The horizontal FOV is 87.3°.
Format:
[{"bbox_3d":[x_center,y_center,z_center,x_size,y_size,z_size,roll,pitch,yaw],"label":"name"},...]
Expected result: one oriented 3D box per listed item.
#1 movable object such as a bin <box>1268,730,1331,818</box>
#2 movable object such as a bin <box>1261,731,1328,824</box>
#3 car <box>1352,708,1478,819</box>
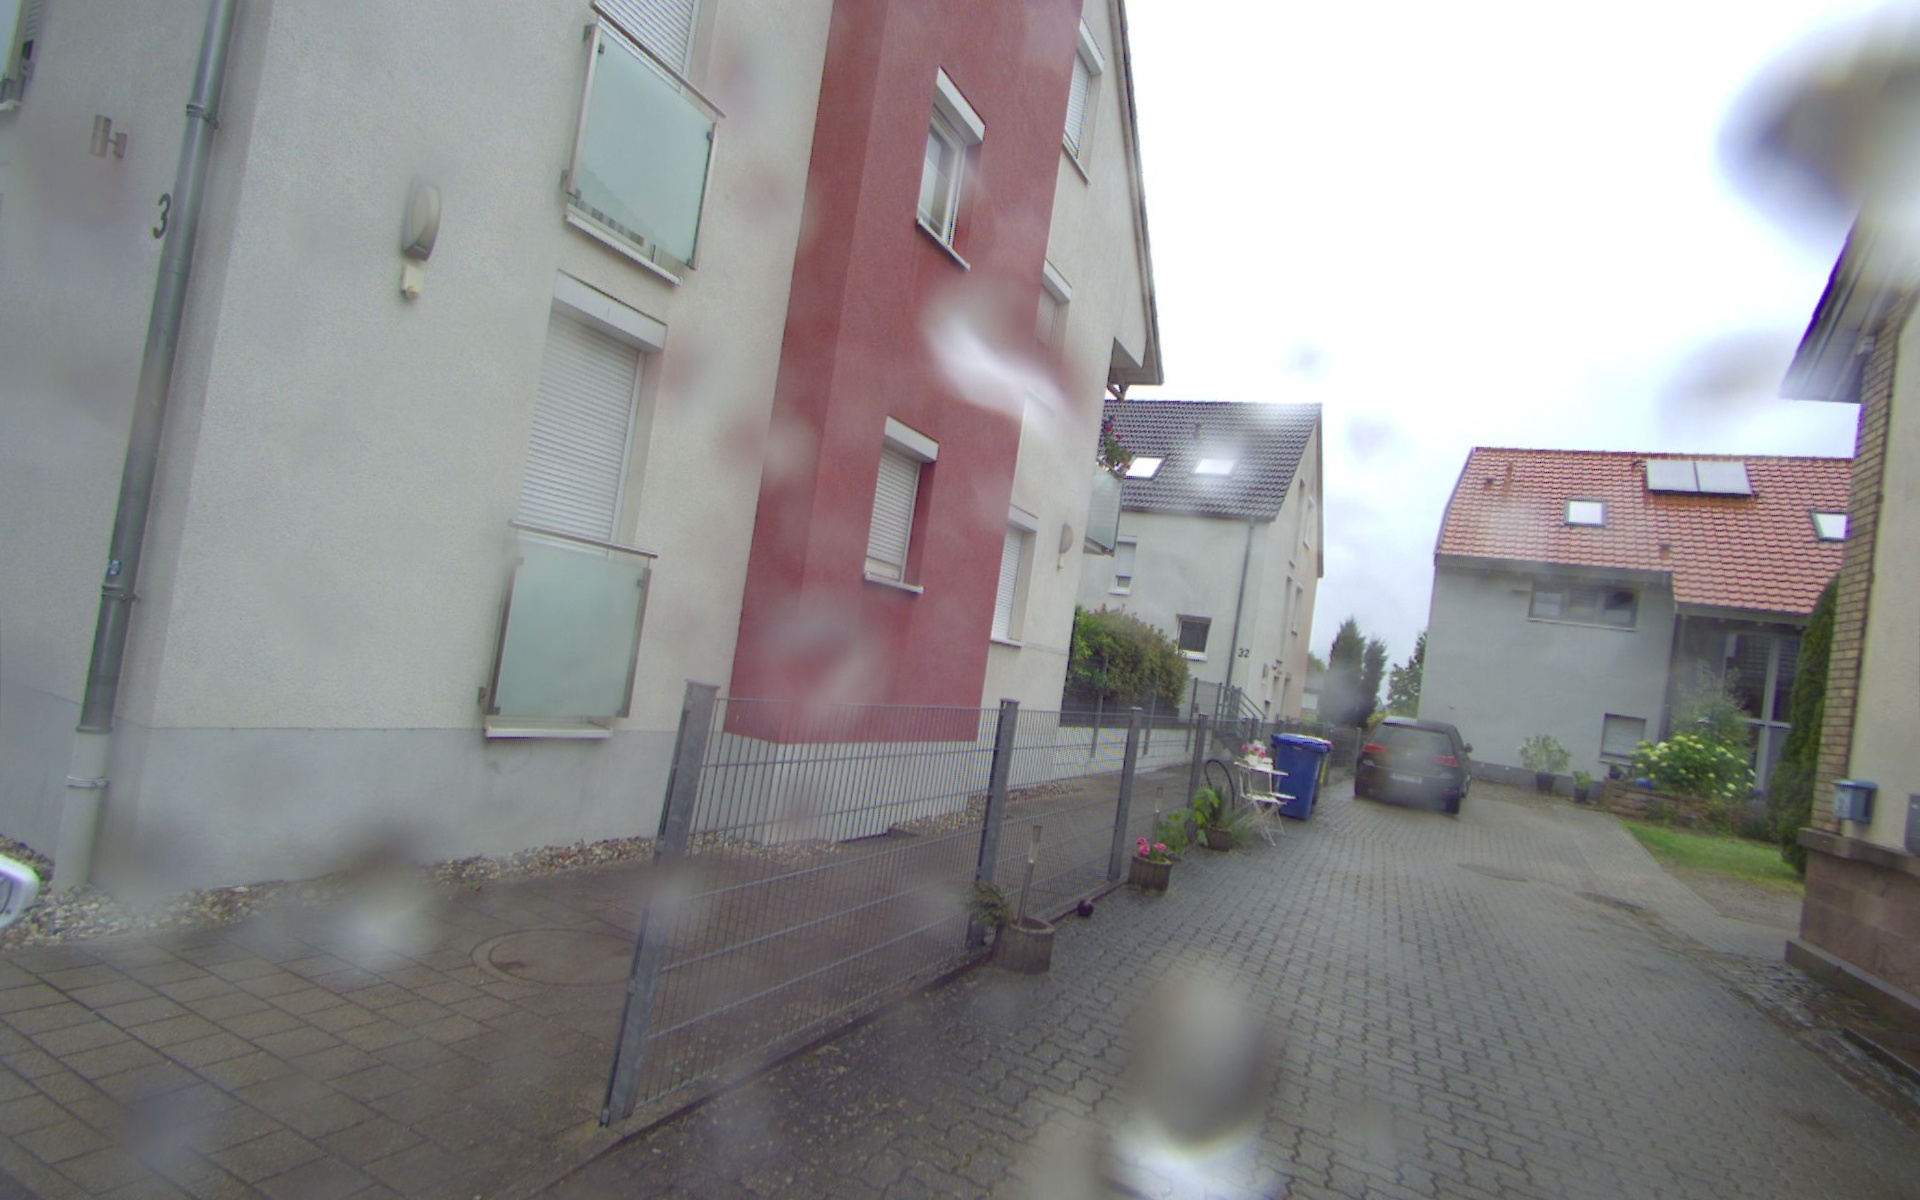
[{"bbox_3d":[4.811,2.443,14.258,0.675,1.108,0.536,7,-2,25],"label":"movable object such as a bin"},{"bbox_3d":[4.479,2.359,13.469,0.675,1.108,0.536,7,-2,25],"label":"movable object such as a bin"},{"bbox_3d":[8.545,2.918,18.699,1.656,1.491,3.993,7,0,30],"label":"car"}]
